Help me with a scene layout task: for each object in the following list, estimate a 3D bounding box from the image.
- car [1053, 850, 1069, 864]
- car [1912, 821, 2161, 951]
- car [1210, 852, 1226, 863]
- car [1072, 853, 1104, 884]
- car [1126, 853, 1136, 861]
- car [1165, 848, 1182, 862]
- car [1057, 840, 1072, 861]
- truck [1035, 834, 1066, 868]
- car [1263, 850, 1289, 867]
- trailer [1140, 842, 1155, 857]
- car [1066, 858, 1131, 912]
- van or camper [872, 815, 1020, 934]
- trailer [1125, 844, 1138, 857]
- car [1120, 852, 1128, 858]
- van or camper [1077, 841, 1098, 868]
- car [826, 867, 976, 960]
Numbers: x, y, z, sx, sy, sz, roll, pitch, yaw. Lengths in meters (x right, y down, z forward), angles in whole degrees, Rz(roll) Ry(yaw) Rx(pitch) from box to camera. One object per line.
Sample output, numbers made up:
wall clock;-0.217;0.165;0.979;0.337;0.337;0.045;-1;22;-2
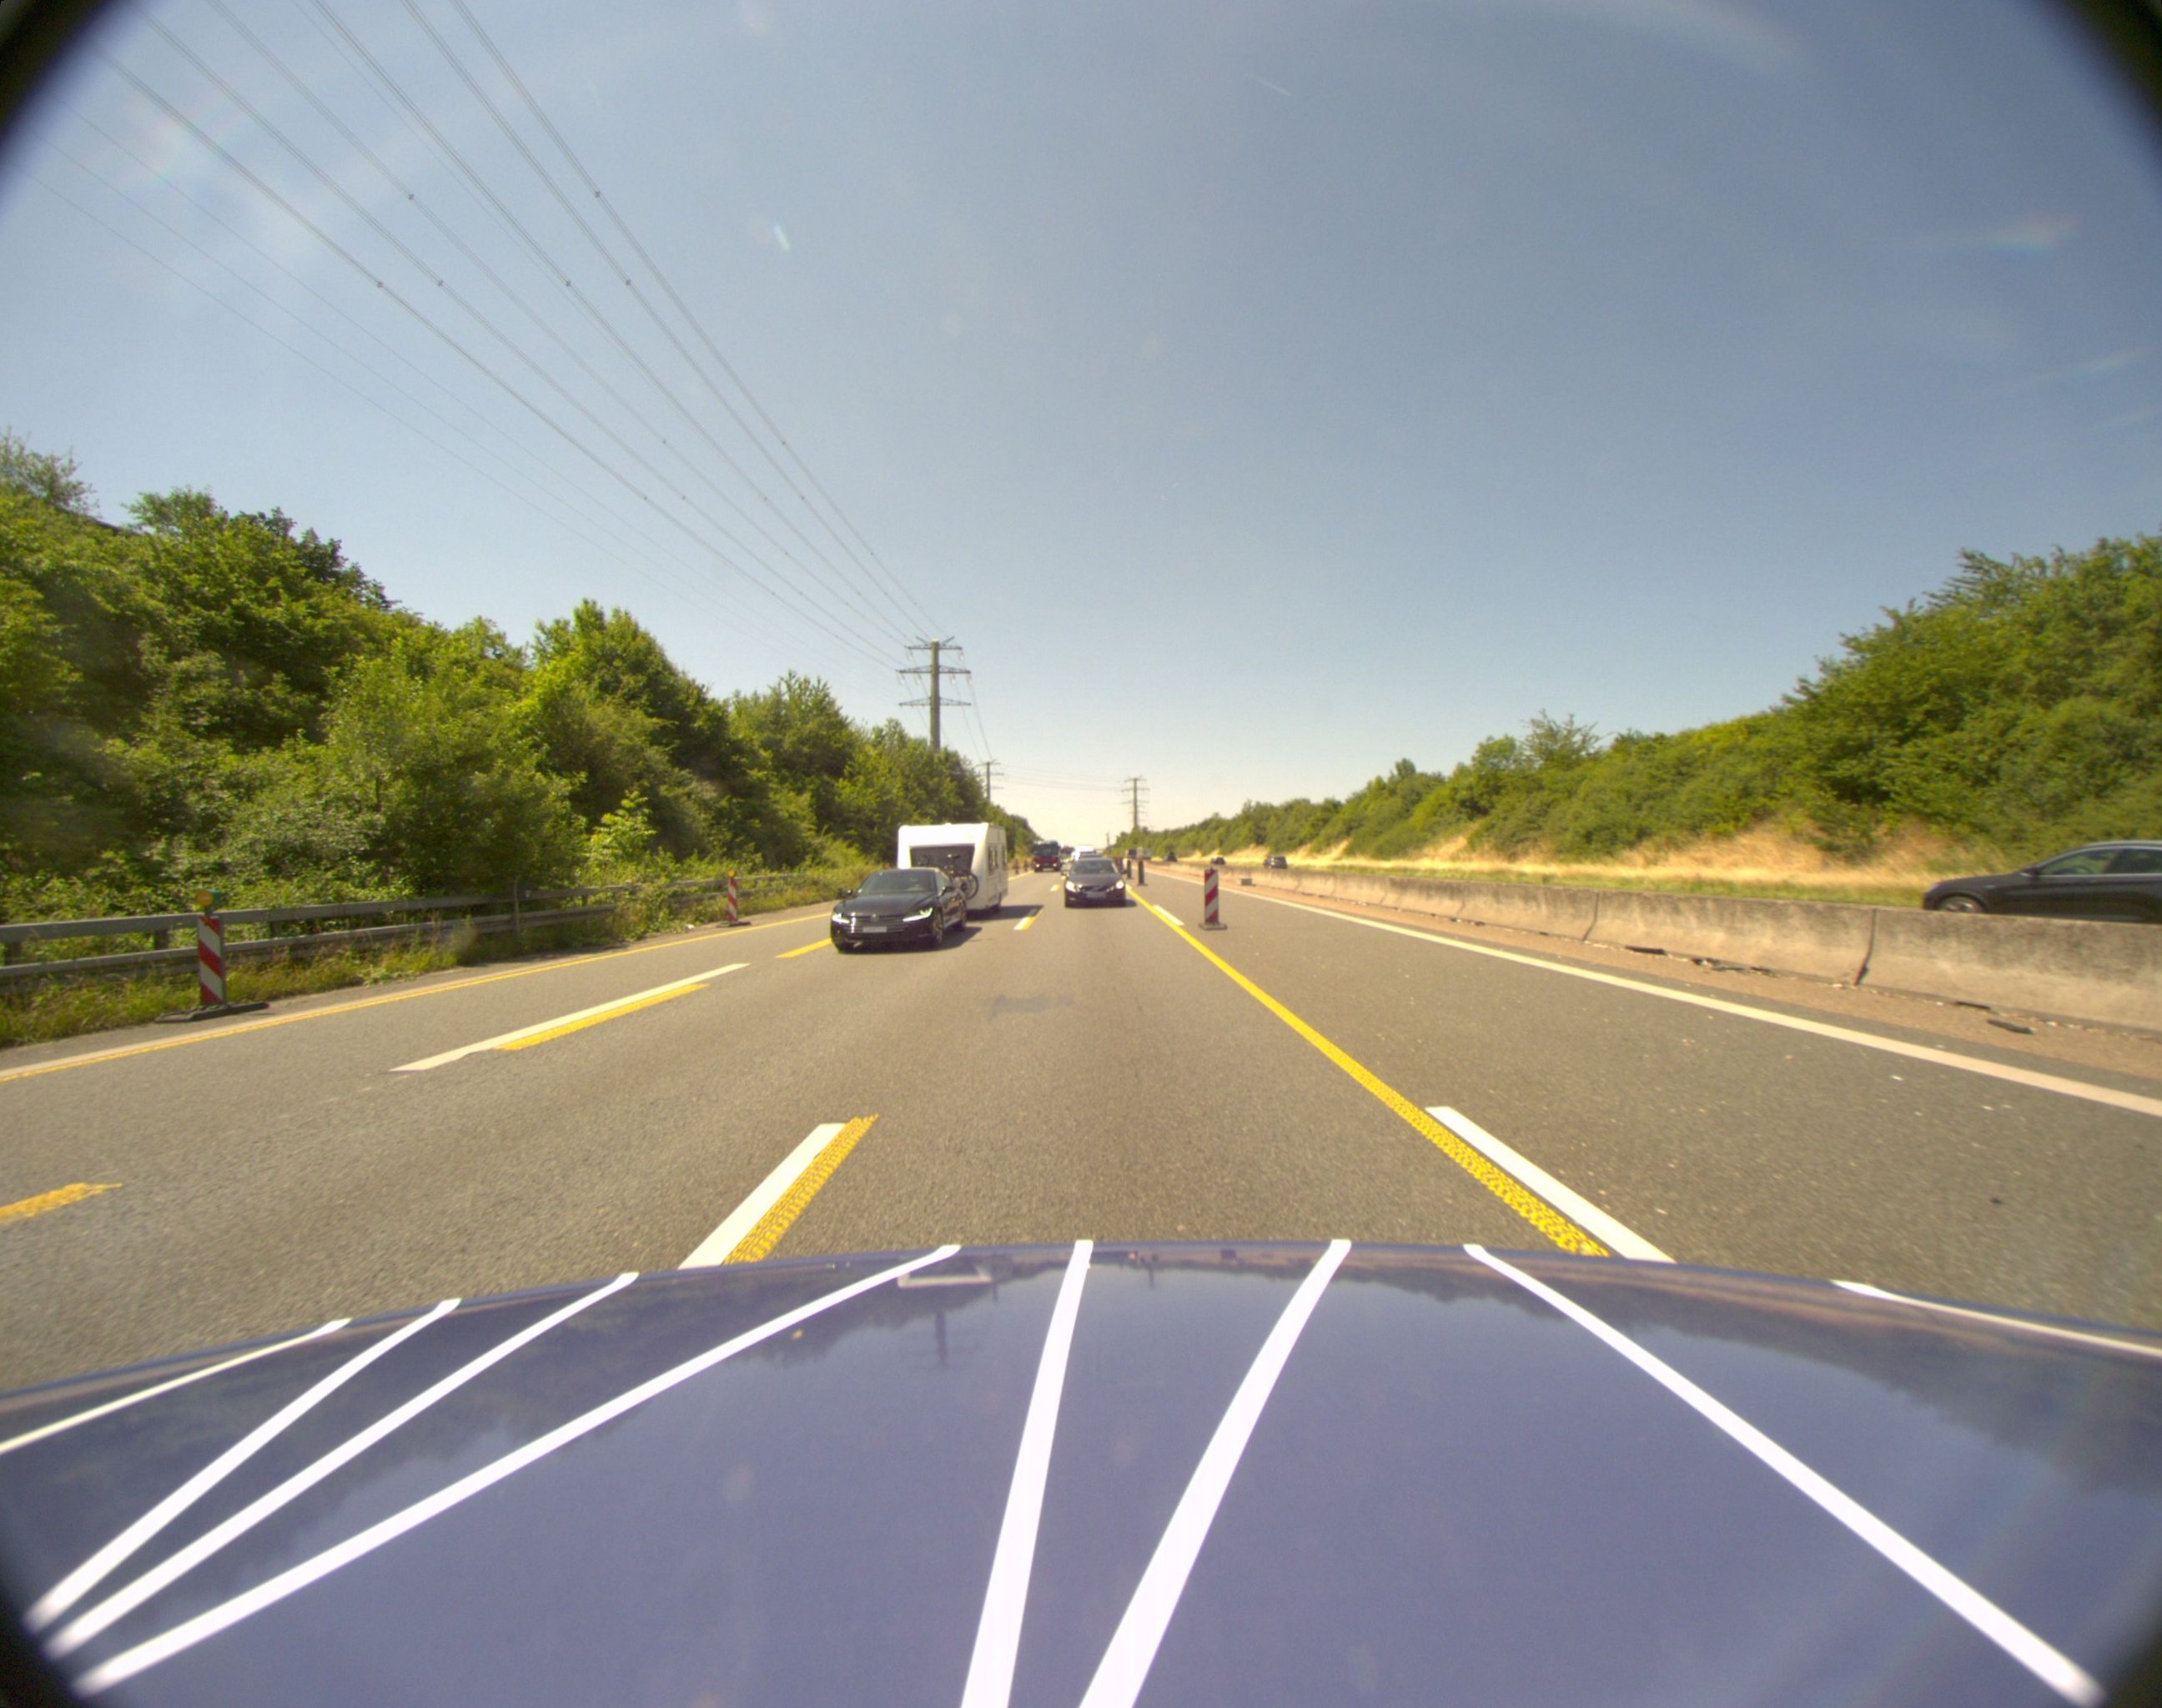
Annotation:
car;-2.745;0.386;104.701;1.850;1.810;3.926;-2;0;1
car;15.635;0.409;11.120;1.918;1.743;4.565;-2;0;0
car;19.333;0.475;107.096;1.578;1.456;3.778;0;0;1
car;0.445;0.799;44.481;1.675;1.619;4.691;-3;0;2
car;10.691;0.609;163.190;1.998;1.591;4.582;0;0;1
car;12.672;0.090;103.908;1.746;1.807;4.622;0;0;0
car;-3.243;-0.725;150.403;2.397;3.779;10.273;-2;0;1
truck;-3.044;-0.328;77.601;2.431;3.122;7.648;-4;0;2
car;19.220;0.421;74.987;1.503;1.539;3.999;0;0;0
trailer;19.017;-1.200;217.010;2.961;4.038;13.636;1;0;0
car;0.580;0.892;23.585;1.798;1.433;4.000;-2;0;3
van or camper;-3.332;0.440;21.076;2.432;2.549;8.417;-2;0;1
trailer;16.810;-1.265;251.500;3.168;4.155;13.682;0;0;-1
car;11.739;0.261;208.725;1.853;1.452;4.488;0;0;0
van or camper;0.728;0.053;76.071;1.998;2.604;5.629;0;0;2
car;-3.280;1.029;14.715;1.800;1.399;4.209;-2;0;1
